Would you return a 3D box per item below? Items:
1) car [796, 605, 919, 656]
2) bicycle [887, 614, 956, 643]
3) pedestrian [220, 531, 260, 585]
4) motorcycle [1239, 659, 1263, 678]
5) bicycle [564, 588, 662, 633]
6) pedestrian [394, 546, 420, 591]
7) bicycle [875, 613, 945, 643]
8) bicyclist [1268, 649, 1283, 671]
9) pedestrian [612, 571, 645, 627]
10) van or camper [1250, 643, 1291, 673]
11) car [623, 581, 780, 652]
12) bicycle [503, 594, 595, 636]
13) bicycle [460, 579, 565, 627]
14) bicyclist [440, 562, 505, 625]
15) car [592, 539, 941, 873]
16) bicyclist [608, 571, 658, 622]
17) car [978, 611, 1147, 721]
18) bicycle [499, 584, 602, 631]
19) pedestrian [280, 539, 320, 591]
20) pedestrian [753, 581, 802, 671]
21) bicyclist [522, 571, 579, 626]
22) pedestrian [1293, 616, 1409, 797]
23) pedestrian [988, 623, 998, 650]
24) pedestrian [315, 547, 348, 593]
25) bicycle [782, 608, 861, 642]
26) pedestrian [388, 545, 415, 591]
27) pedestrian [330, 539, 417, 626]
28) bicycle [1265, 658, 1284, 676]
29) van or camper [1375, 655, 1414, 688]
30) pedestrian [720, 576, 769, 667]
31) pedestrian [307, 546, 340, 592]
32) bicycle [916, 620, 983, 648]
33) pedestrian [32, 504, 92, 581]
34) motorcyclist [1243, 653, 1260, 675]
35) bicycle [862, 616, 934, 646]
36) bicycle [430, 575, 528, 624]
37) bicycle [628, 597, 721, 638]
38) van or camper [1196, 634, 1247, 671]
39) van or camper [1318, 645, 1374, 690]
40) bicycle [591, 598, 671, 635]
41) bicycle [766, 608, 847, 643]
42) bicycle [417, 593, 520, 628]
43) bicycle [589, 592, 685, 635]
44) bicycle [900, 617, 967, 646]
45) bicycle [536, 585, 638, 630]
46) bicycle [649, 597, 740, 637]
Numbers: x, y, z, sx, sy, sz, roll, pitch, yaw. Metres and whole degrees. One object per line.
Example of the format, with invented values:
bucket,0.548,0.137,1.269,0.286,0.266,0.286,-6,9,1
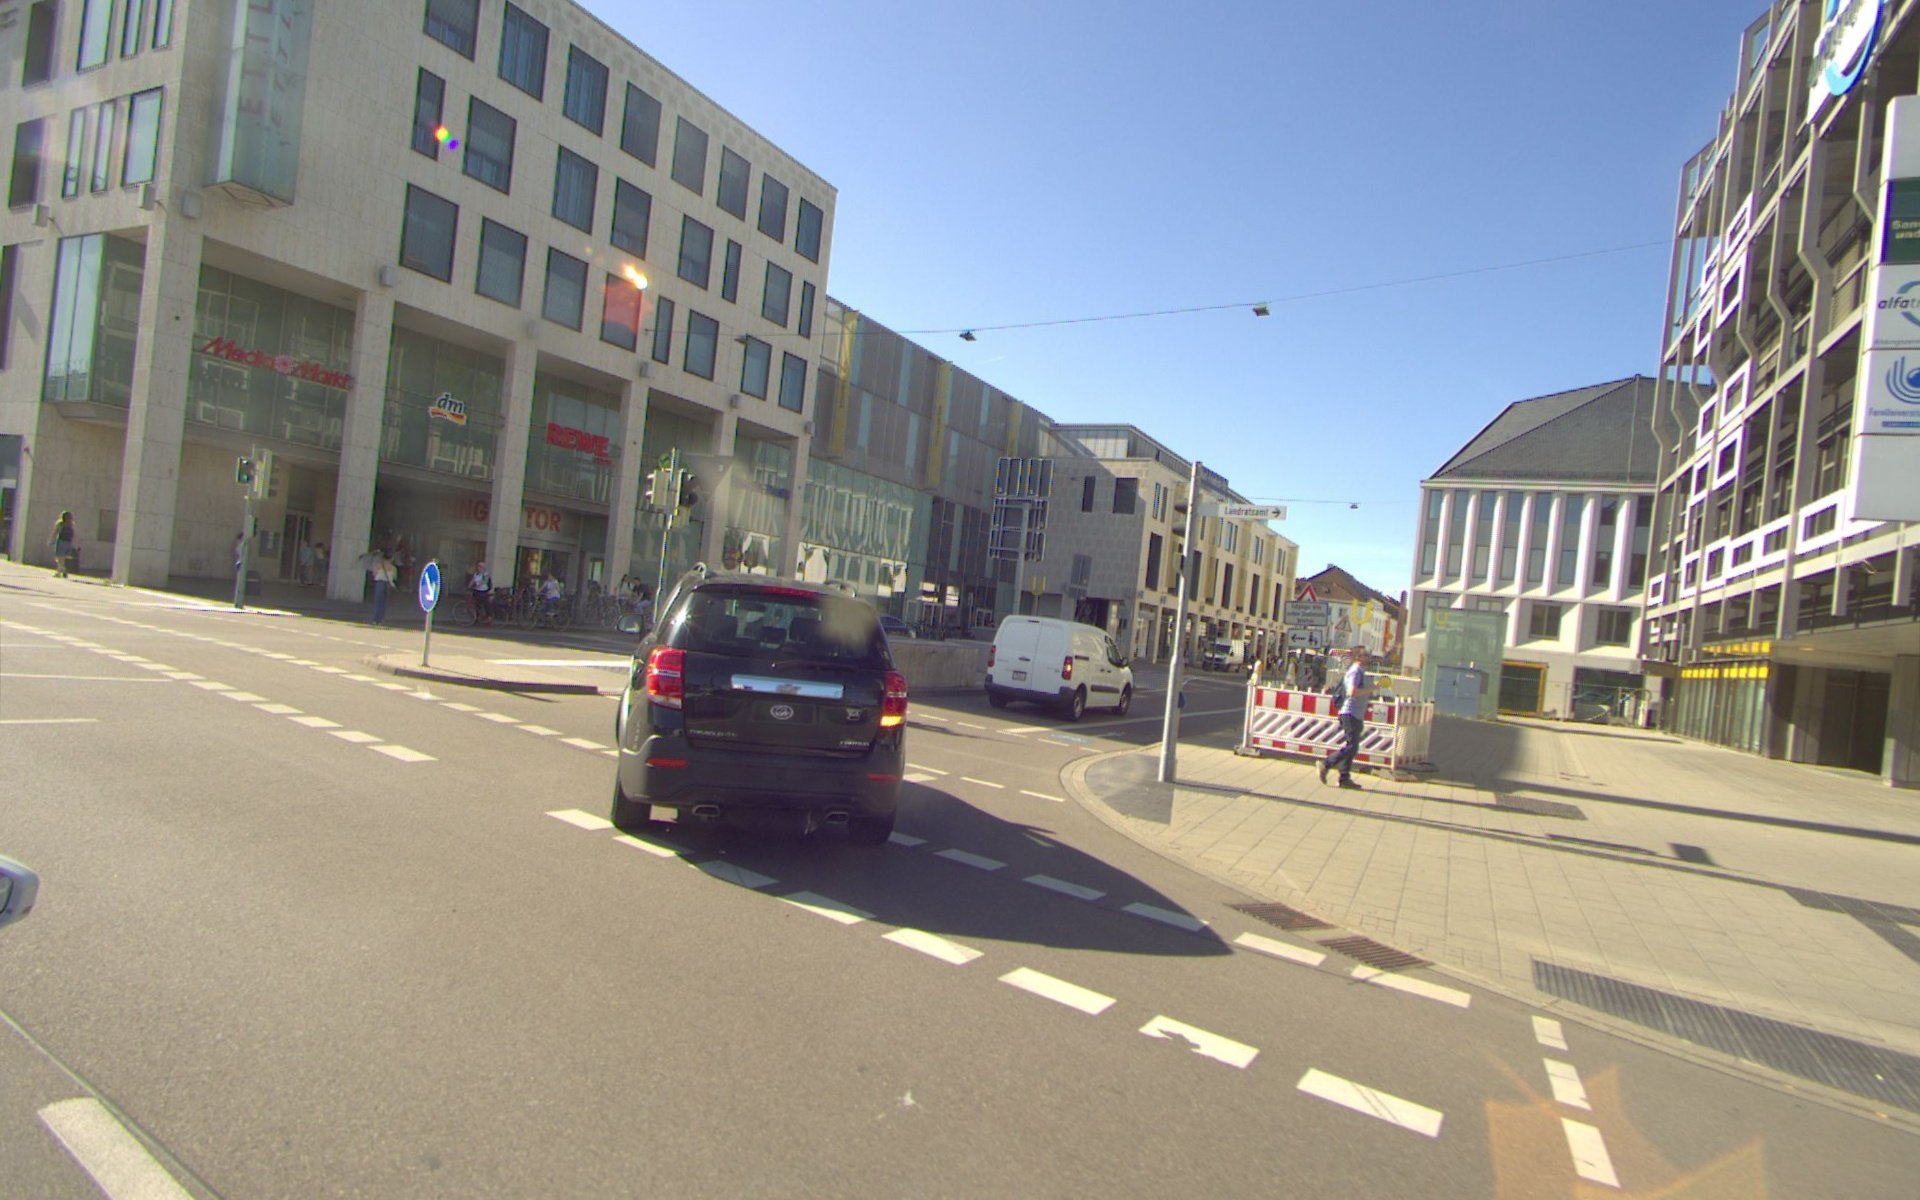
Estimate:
car,-3.438,1.100,34.587,1.829,1.437,4.613,4,-2,29
bicycle,-2.006,1.466,52.109,3.438,1.107,1.068,6,-1,30
pedestrian,-23.573,-1.367,32.940,0.547,1.628,0.749,7,1,26
motorcycle,19.646,4.650,67.898,0.782,1.111,2.960,5,-2,29
bicycle,-11.878,0.350,34.358,3.438,1.107,1.068,6,-1,30
pedestrian,-22.736,-1.280,41.368,0.639,1.784,0.555,7,1,-9
bicycle,-2.550,1.407,51.066,3.438,1.107,1.068,6,-1,30
bicyclist,25.202,4.799,80.340,0.782,1.690,0.955,5,-1,30
pedestrian,-12.004,-0.028,36.446,0.727,1.931,0.637,6,0,4
van or camper,30.606,5.778,99.011,2.142,2.544,6.414,6,-1,32
car,-7.229,0.510,28.524,1.829,1.631,4.193,4,-2,29
bicycle,-11.720,0.442,28.771,1.054,0.955,2.196,6,-1,31
bicycle,-13.985,0.090,31.387,3.437,1.107,1.068,6,-1,29
bicyclist,-12.906,-0.164,26.629,1.054,1.494,1.023,6,0,31
car,-1.762,0.606,7.699,1.765,1.719,4.394,7,-1,-20
bicyclist,-10.197,-0.098,31.371,1.023,1.451,0.934,6,0,31
car,2.146,1.332,19.920,1.759,1.754,4.160,7,-1,27
bicycle,-13.151,0.230,32.256,3.437,1.107,1.068,6,-1,29
pedestrian,-22.196,-1.186,33.838,0.737,1.628,0.724,7,1,28
pedestrian,-3.431,0.489,18.942,0.517,1.634,0.661,6,2,18
bicyclist,-11.683,-0.027,28.731,1.058,1.413,0.934,6,0,31
pedestrian,4.834,1.294,12.526,1.059,2.038,0.950,6,0,16
pedestrian,2.073,2.300,63.633,0.290,1.704,0.337,7,0,36
pedestrian,-23.973,-1.142,38.385,0.737,1.628,0.555,7,1,-10
bicycle,-6.158,1.104,44.466,3.438,1.107,1.068,6,-1,30
pedestrian,-22.599,-1.300,40.687,0.639,1.784,0.555,7,1,-9
pedestrian,-13.519,-0.399,23.195,1.496,1.825,0.968,6,2,27
bicycle,25.098,5.364,80.258,0.782,1.228,2.960,5,-2,29
van or camper,38.158,6.302,88.257,2.284,2.544,6.418,6,-1,30
pedestrian,-4.066,0.406,19.022,0.517,1.634,0.661,6,2,18
pedestrian,-23.855,-1.161,37.734,0.737,1.628,0.555,7,1,-9
bicycle,-0.590,1.829,54.490,3.438,1.107,1.068,6,-1,30
pedestrian,-22.745,-1.454,25.475,1.047,1.825,0.729,6,2,27
motorcyclist,19.691,4.319,67.911,0.782,1.399,1.082,5,-1,29
bicycle,-3.079,1.526,49.941,3.438,1.107,1.068,6,-1,30
bicycle,-14.532,-0.024,30.354,2.940,1.107,1.068,6,-1,29
bicycle,-10.422,0.636,36.677,3.438,1.107,1.068,6,-1,30
van or camper,20.692,4.190,79.310,2.140,2.544,6.419,6,-1,29
van or camper,25.306,4.472,65.743,2.284,2.544,6.418,6,-1,30
bicycle,-10.250,0.532,31.421,1.013,0.943,2.196,6,-1,31
bicycle,-6.636,1.082,43.421,3.438,1.107,1.068,6,-1,30
bicycle,-12.966,0.293,26.592,1.054,0.679,2.196,6,-1,31
bicycle,-11.378,0.454,35.381,3.438,1.107,1.068,6,-1,30
bicycle,-1.415,1.645,53.108,3.438,1.107,1.068,6,-1,30
bicycle,-12.336,0.239,33.220,3.437,1.107,1.068,6,-1,29
bicycle,-9.979,0.622,37.766,3.438,1.107,1.068,6,-1,30
